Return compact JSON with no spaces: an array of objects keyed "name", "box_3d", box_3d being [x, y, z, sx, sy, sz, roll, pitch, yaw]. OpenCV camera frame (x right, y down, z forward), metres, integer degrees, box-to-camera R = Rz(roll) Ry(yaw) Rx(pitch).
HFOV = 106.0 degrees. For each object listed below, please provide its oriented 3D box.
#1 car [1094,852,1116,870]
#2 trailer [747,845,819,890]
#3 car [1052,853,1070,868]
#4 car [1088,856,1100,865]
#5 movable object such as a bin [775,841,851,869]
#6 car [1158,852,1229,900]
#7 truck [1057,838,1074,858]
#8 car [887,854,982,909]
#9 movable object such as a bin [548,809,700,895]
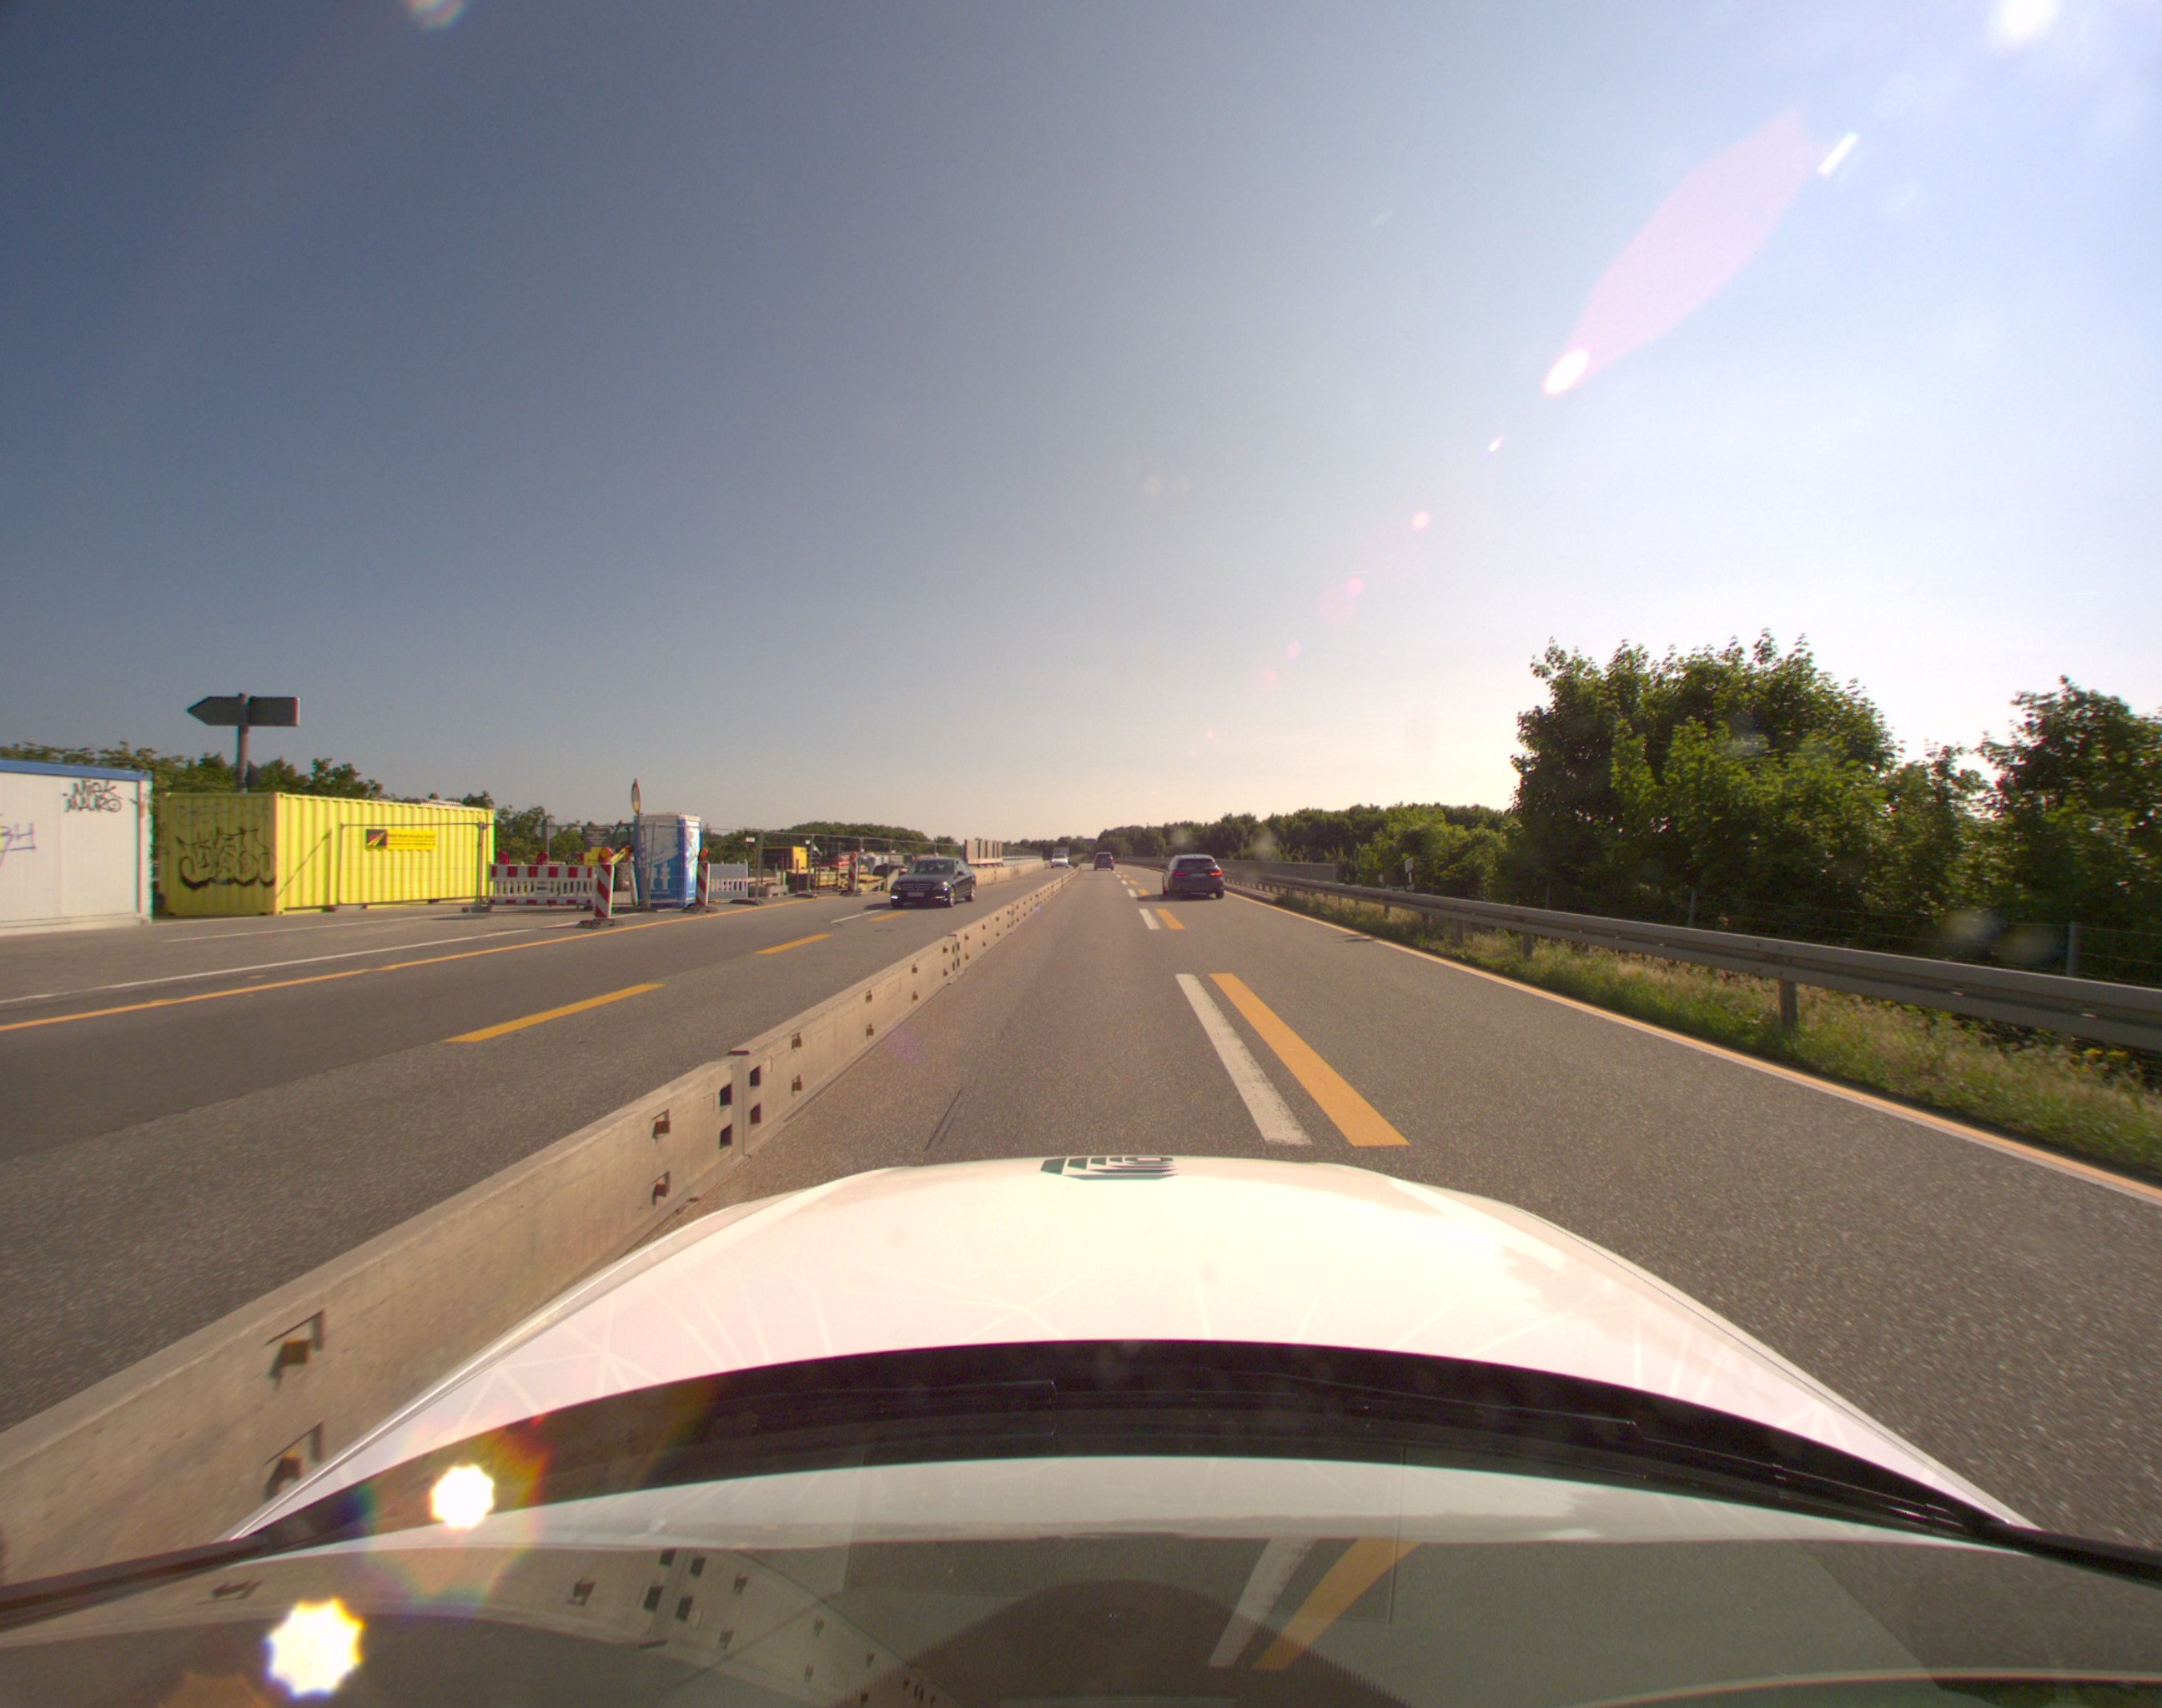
[{"name":"car","box_3d":[2.249,0.657,74.926,1.985,1.567,4.003,-1,0,3]},{"name":"trailer","box_3d":[-11.703,0.490,32.222,1.716,1.648,3.528,1,0,-5]},{"name":"car","box_3d":[-2.278,0.682,92.847,1.976,1.651,4.547,1,0,-1]},{"name":"car","box_3d":[2.720,1.345,172.043,1.991,1.688,3.992,0,0,-5]},{"name":"movable object such as a bin","box_3d":[-21.023,0.081,63.913,5.347,2.116,2.249,0,0,20]},{"name":"car","box_3d":[3.742,0.686,27.650,1.913,1.494,4.001,-1,0,1]},{"name":"truck","box_3d":[-3.817,-1.474,205.038,3.747,4.911,14.142,0,0,2]},{"name":"car","box_3d":[-4.389,0.755,25.118,1.851,1.473,4.687,1,0,3]},{"name":"movable object such as a bin","box_3d":[-16.682,-0.071,30.145,2.021,2.715,5.117,6,0,7]}]
